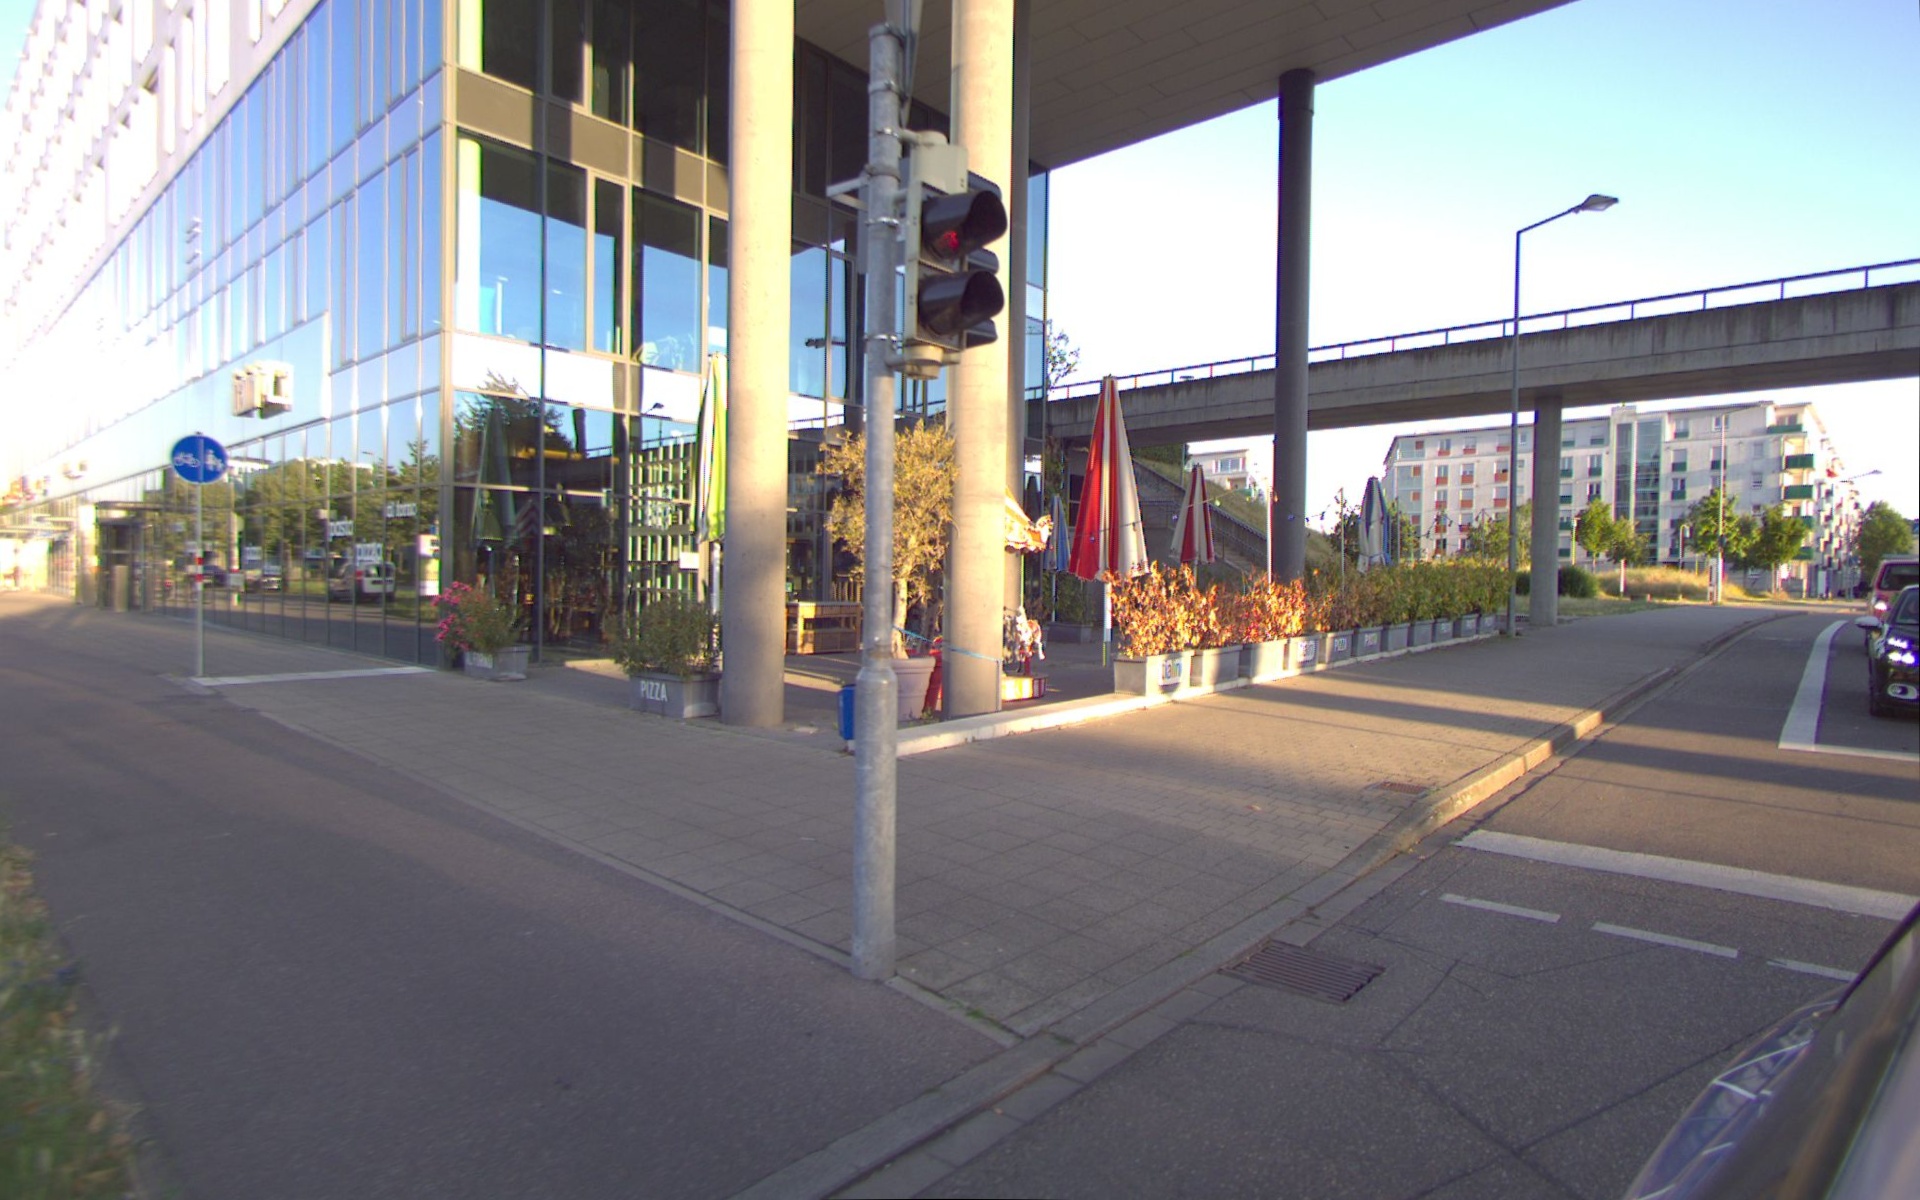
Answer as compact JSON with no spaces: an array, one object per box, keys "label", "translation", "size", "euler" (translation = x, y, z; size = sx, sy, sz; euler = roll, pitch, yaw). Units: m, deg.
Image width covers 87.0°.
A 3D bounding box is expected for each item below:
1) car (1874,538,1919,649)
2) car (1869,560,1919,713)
[{"label":"car","translation":[19.232,-0.157,19.816],"size":[1.925,2.015,4.750],"euler":[1,2,42]},{"label":"car","translation":[11.615,0.353,11.510],"size":[1.753,1.571,4.012],"euler":[2,2,41]}]
